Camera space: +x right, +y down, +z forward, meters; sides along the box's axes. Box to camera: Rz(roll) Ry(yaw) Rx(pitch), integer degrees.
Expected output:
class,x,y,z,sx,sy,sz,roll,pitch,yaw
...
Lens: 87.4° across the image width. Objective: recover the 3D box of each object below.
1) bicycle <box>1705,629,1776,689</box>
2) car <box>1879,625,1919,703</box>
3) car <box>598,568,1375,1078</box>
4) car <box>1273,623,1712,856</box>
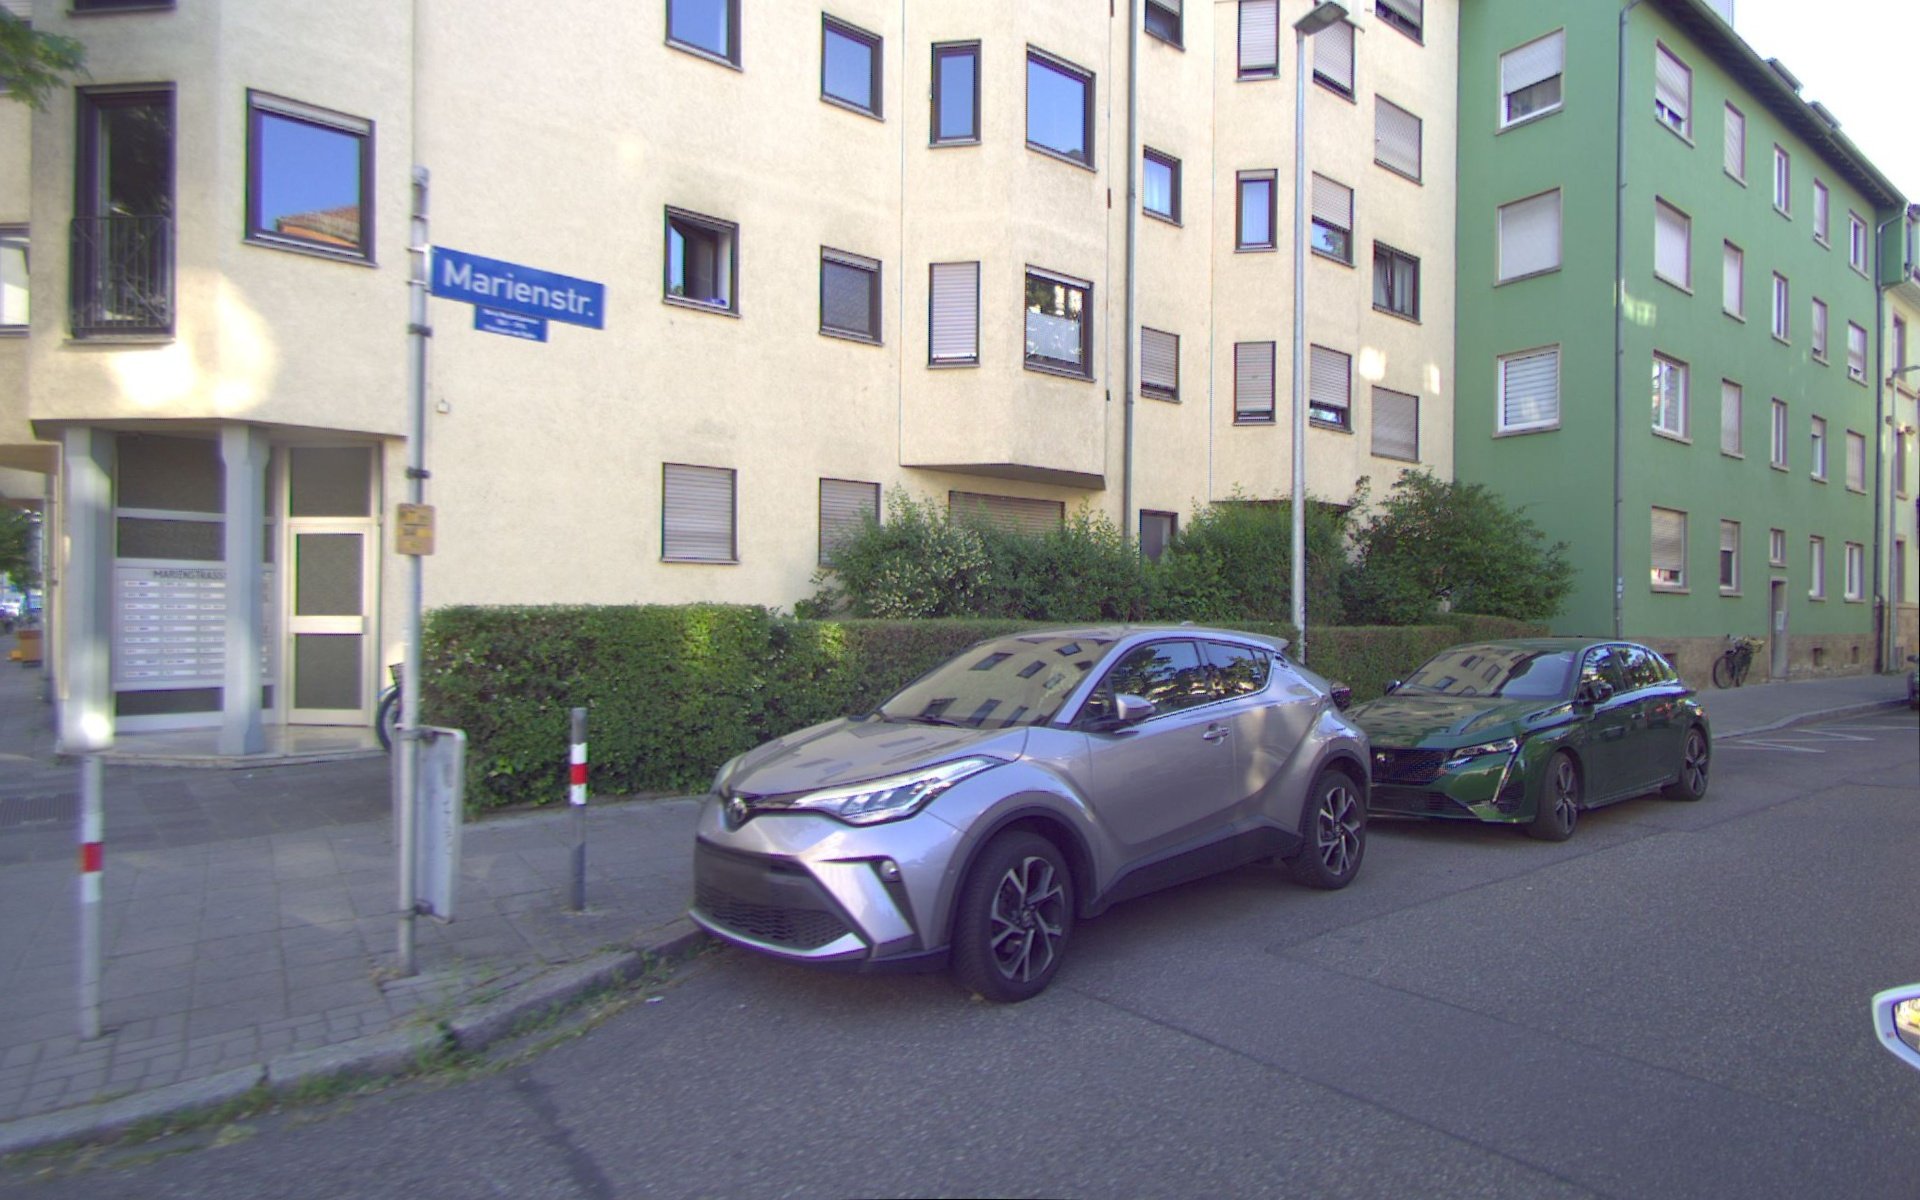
class,x,y,z,sx,sy,sz,roll,pitch,yaw
bicycle,16.872,1.250,21.699,2.256,1.194,0.547,1,2,-36
car,19.885,1.224,19.862,4.079,1.475,1.963,1,-2,-39
car,0.377,0.818,5.386,3.970,1.681,1.886,2,-3,-42
car,4.633,0.984,8.520,4.098,1.516,1.740,1,-3,-38
